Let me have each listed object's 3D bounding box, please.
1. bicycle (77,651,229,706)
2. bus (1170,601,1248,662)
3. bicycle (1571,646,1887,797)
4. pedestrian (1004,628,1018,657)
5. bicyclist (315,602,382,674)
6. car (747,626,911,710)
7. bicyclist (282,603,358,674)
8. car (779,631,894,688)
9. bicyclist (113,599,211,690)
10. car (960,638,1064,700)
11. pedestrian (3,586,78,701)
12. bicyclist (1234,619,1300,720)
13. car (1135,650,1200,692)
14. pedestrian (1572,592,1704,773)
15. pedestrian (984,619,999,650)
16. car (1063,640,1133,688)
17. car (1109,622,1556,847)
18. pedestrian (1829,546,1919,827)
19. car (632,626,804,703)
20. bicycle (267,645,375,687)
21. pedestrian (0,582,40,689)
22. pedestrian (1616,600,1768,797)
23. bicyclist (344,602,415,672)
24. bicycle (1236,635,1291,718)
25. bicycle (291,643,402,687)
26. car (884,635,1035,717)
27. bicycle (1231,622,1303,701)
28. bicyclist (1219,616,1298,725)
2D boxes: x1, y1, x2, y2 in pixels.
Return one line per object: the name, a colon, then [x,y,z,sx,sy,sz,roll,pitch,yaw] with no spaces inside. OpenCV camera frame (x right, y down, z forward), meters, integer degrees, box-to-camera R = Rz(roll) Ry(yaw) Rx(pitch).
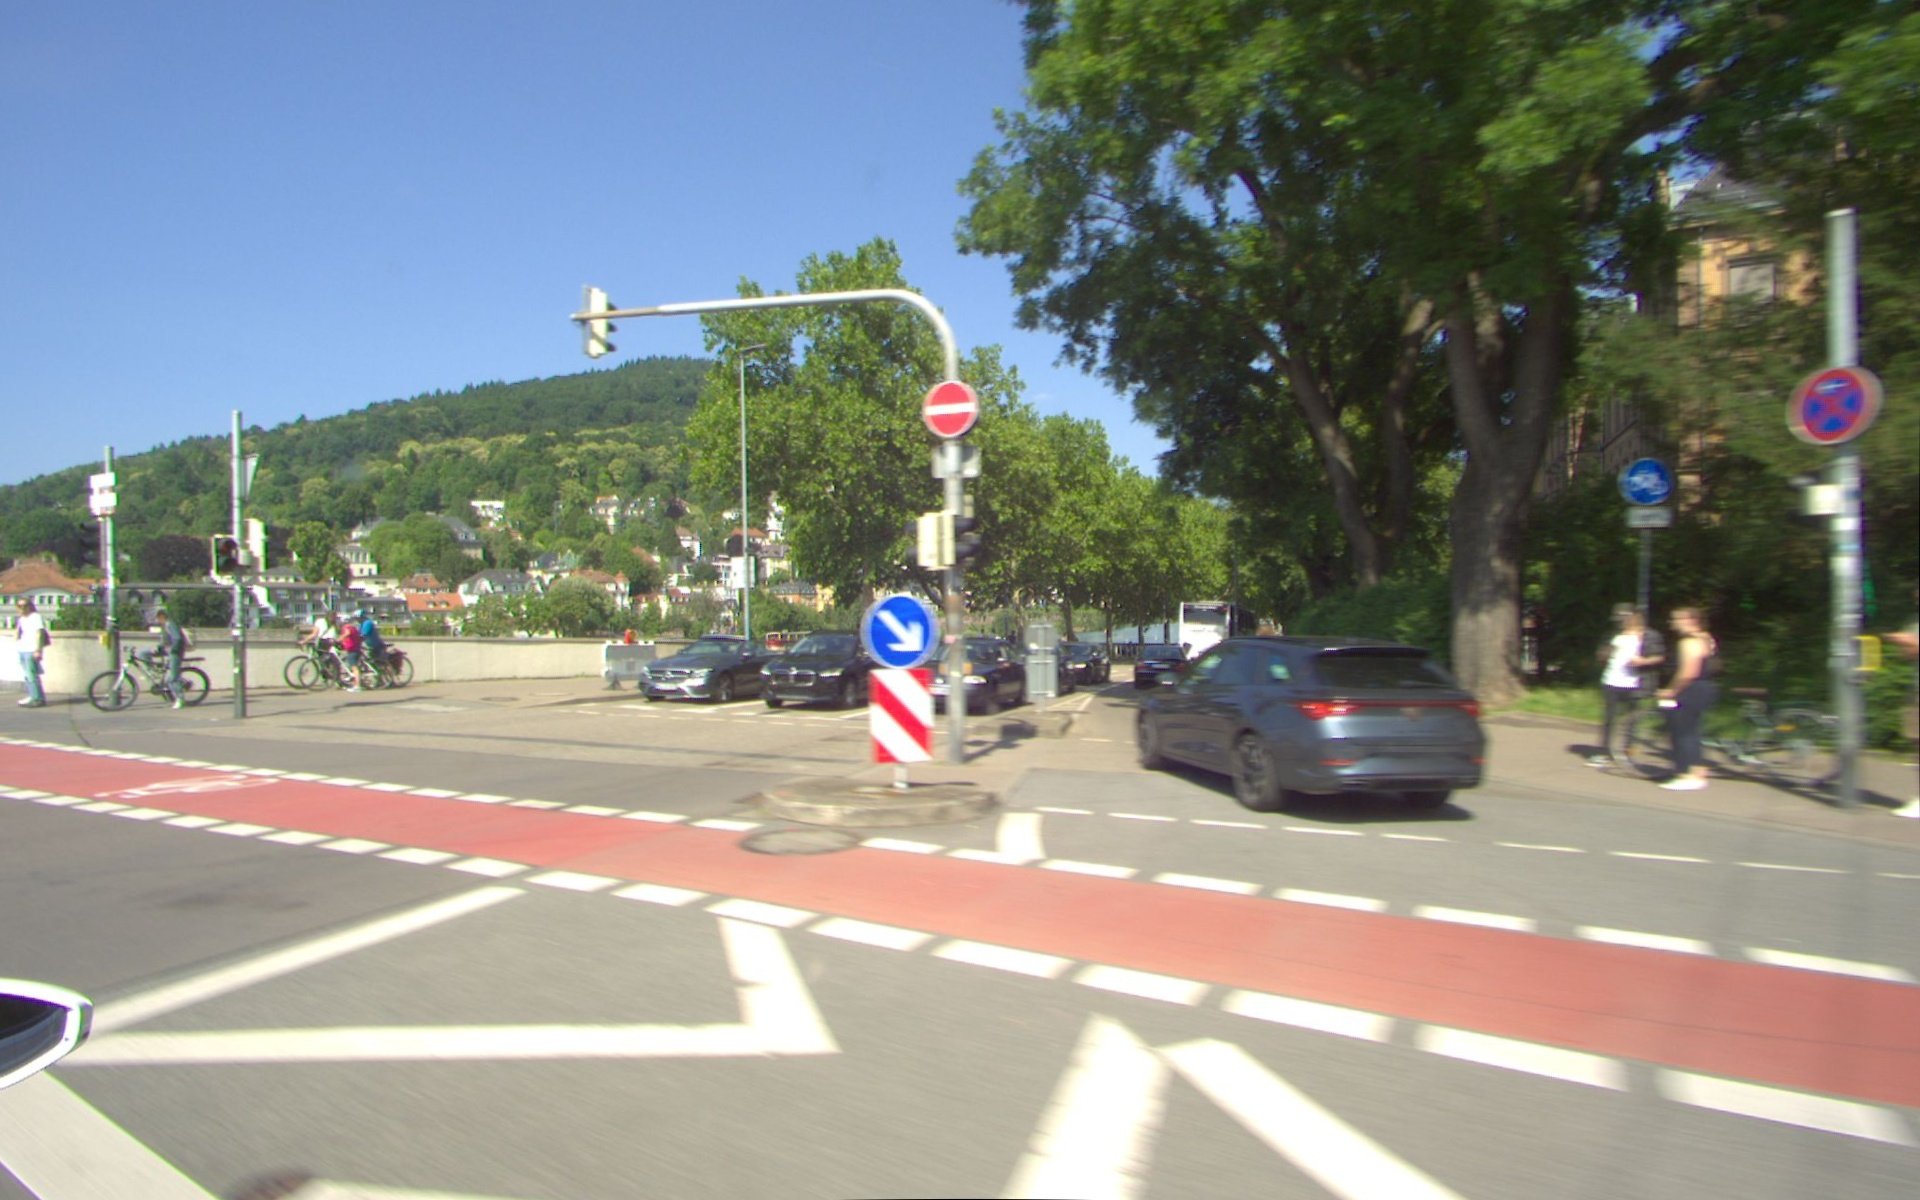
bicycle: [-13.638,1.308,16.995,0.557,0.837,1.937,0,-2,30]
bus: [12.756,1.516,50.687,3.054,2.819,8.838,-1,-1,19]
bicycle: [7.231,1.118,9.521,2.251,1.221,0.795,-5,-1,43]
pedestrian: [3.199,2.655,62.822,0.665,1.798,0.741,0,0,20]
bicyclist: [-12.940,0.799,21.207,1.073,1.493,0.755,2,-1,-43]
car: [-2.603,1.329,21.046,1.813,1.525,4.482,1,-1,15]
bicyclist: [-13.917,0.828,21.786,0.914,1.493,1.078,0,-1,32]
car: [-3.466,1.655,29.007,1.813,1.466,4.483,0,-1,14]
bicyclist: [-13.568,0.745,17.042,0.788,1.493,1.079,0,-1,30]
car: [1.472,1.748,26.378,1.813,1.397,4.482,0,-1,15]
pedestrian: [-15.549,0.724,16.933,0.634,1.880,0.773,0,0,29]
bicyclist: [4.996,1.113,16.360,0.762,1.574,1.059,0,0,0]
car: [6.883,2.275,32.845,1.813,1.172,4.483,0,-2,15]
pedestrian: [7.226,0.857,10.735,0.689,1.803,1.059,-4,-1,11]
pedestrian: [1.833,2.021,58.705,0.665,1.798,0.741,0,0,20]
car: [4.797,2.126,34.283,1.813,1.461,4.482,0,-1,15]
car: [3.075,1.008,9.414,1.962,1.510,4.282,-2,-1,-11]
pedestrian: [7.361,0.621,7.520,1.041,2.041,0.775,0,1,21]
car: [-5.285,1.362,22.549,1.813,1.414,4.480,0,0,15]
bicycle: [-13.908,1.418,21.845,0.557,0.837,1.937,0,-2,30]
pedestrian: [-16.149,0.599,17.073,0.568,1.783,0.533,0,0,29]
pedestrian: [6.790,0.904,9.342,0.878,1.732,0.674,-5,-1,22]
bicyclist: [-12.886,0.819,22.237,0.915,1.493,1.077,0,-1,34]
bicycle: [4.920,1.201,16.325,0.704,1.241,2.002,0,-1,13]
bicycle: [-12.983,1.360,21.228,1.924,0.864,0.560,2,-2,-41]
car: [0.127,1.451,20.292,1.848,1.375,4.311,2,-1,17]
bicycle: [4.980,0.957,16.370,0.605,1.180,2.250,0,-1,3]
bicyclist: [4.840,1.117,16.328,1.150,1.699,1.088,0,-1,12]
